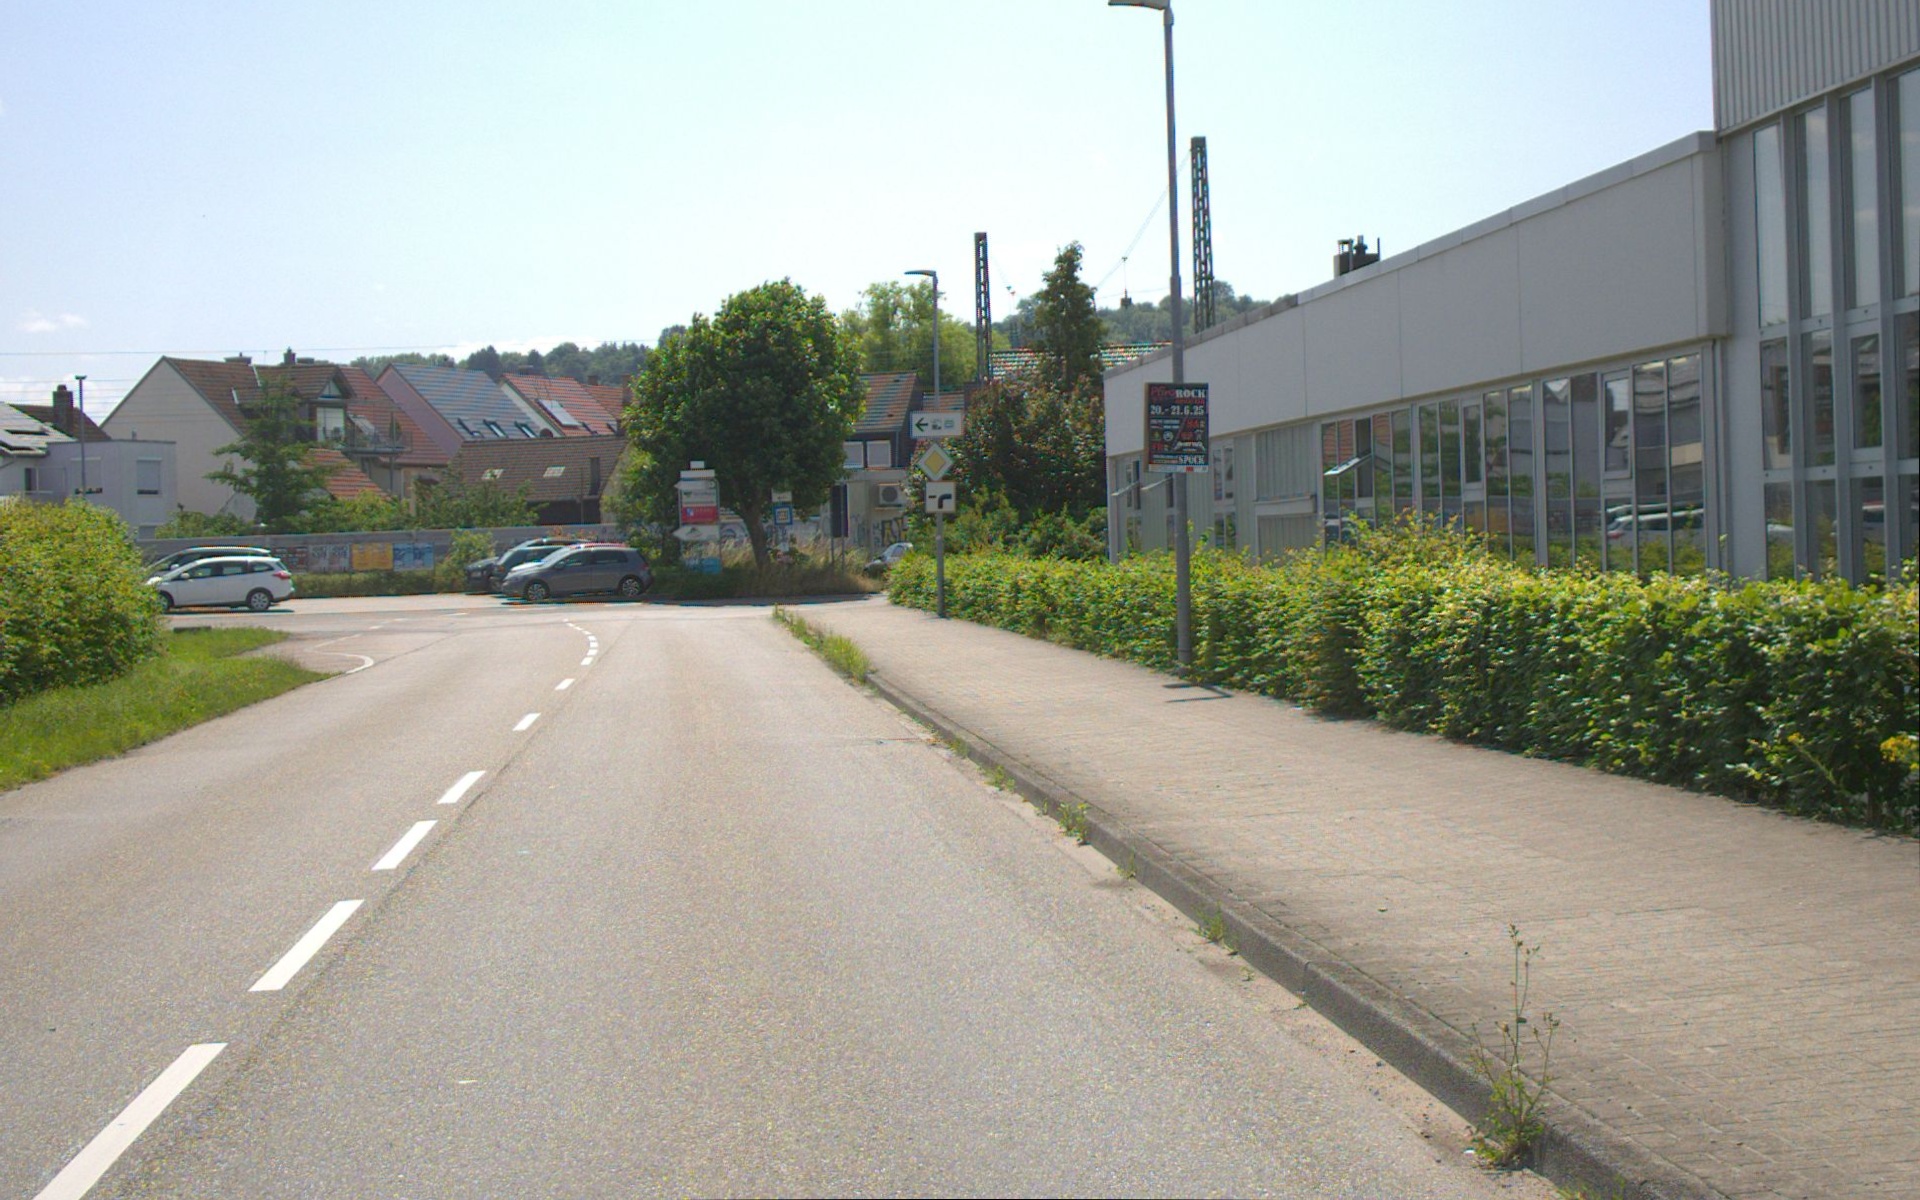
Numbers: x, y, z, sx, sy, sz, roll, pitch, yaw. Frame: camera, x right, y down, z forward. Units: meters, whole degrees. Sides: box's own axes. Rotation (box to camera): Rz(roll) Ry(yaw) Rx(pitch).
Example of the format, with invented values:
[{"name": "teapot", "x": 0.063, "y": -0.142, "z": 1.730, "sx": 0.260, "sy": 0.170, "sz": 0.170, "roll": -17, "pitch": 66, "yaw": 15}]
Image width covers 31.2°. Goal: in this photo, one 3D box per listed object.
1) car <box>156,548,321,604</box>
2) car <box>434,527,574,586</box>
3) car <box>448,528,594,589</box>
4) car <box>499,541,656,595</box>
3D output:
[{"name": "car", "x": -19.695, "y": -0.639, "z": 93.829, "sx": 4.281, "sy": 1.472, "sz": 1.828, "roll": 0, "pitch": 0, "yaw": -16}, {"name": "car", "x": -13.709, "y": -1.293, "z": 103.355, "sx": 3.986, "sy": 1.724, "sz": 1.771, "roll": 0, "pitch": 0, "yaw": -14}, {"name": "car", "x": -12.841, "y": -1.227, "z": 100.454, "sx": 3.986, "sy": 1.652, "sz": 2.001, "roll": -2, "pitch": 1, "yaw": -14}, {"name": "car", "x": -10.731, "y": -0.888, "z": 96.411, "sx": 4.186, "sy": 1.458, "sz": 1.665, "roll": -1, "pitch": 0, "yaw": -13}]
